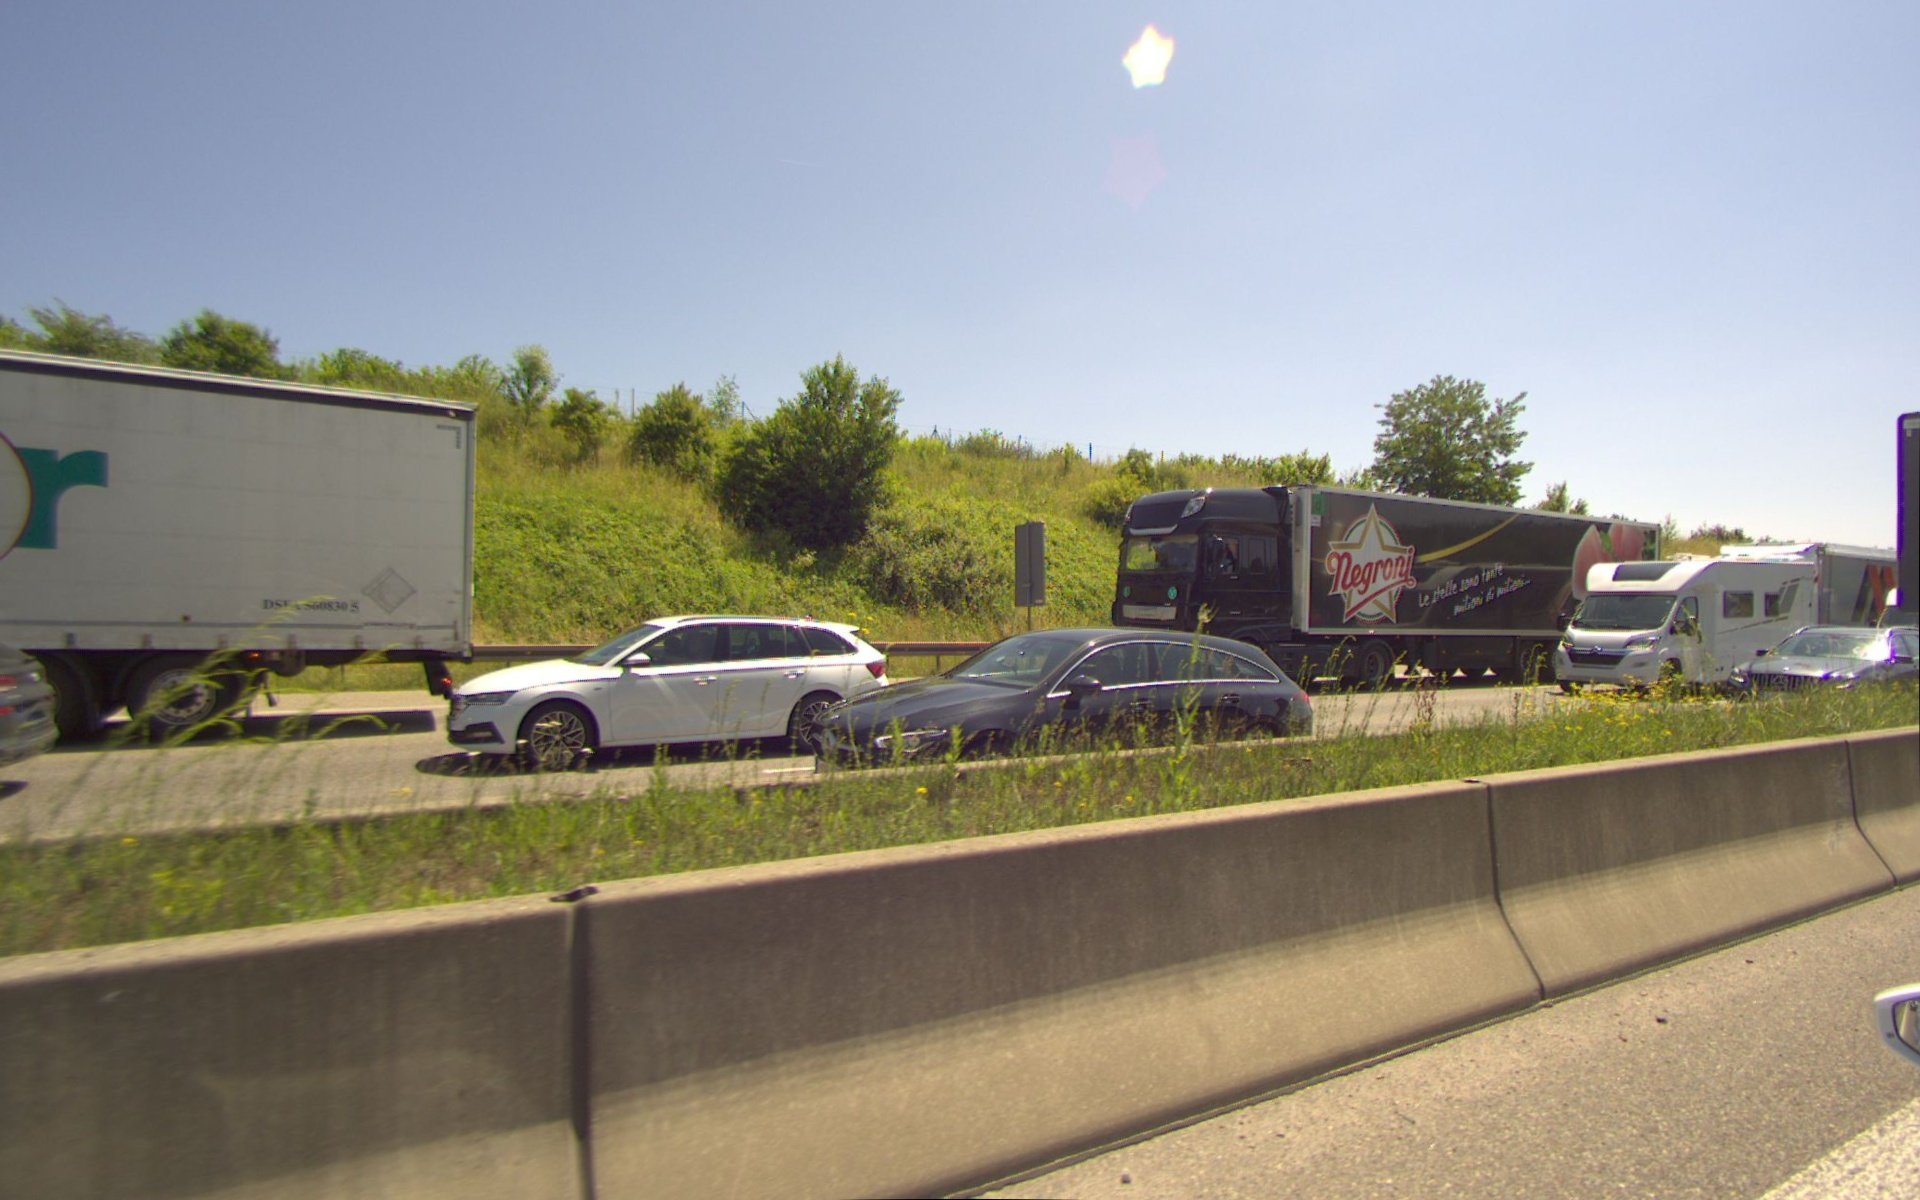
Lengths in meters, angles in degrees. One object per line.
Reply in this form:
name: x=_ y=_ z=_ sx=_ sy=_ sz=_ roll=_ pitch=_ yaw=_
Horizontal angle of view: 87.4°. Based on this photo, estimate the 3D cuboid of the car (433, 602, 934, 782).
car: x=-2.885 y=0.877 z=10.900 sx=4.939 sy=1.564 sz=1.803 roll=2 pitch=0 yaw=-30

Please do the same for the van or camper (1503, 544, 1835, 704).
van or camper: x=15.648 y=0.532 z=21.980 sx=8.018 sy=2.987 sz=2.828 roll=2 pitch=0 yaw=-30

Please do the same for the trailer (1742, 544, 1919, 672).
trailer: x=32.752 y=0.388 z=36.314 sx=12.107 sy=4.087 sz=2.767 roll=2 pitch=0 yaw=-30

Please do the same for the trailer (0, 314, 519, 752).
trailer: x=-11.164 y=-0.687 z=10.691 sx=11.572 sy=4.362 sz=2.768 roll=2 pitch=-1 yaw=-30

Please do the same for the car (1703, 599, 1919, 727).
car: x=14.764 y=0.987 z=16.730 sx=5.478 sy=1.833 sz=1.803 roll=2 pitch=0 yaw=-30

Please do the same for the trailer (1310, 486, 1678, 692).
trailer: x=13.480 y=-0.103 z=24.847 sx=10.666 sy=4.297 sz=2.776 roll=2 pitch=0 yaw=-30

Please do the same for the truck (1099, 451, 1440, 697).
truck: x=6.499 y=-0.367 z=20.781 sx=6.947 sy=4.362 sz=2.768 roll=2 pitch=-1 yaw=-30

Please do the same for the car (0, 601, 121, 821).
car: x=-9.134 y=0.752 z=6.986 sx=4.772 sy=1.557 sz=1.803 roll=2 pitch=0 yaw=-30

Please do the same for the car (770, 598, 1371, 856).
car: x=1.080 y=0.885 z=8.542 sx=4.971 sy=1.655 sz=1.803 roll=2 pitch=0 yaw=-30

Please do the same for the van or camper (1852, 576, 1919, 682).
van or camper: x=29.760 y=0.906 z=30.275 sx=7.139 sy=2.962 sz=2.140 roll=2 pitch=0 yaw=-30

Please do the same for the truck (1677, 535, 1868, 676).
truck: x=26.330 y=0.214 z=32.514 sx=6.069 sy=4.182 sz=2.787 roll=2 pitch=0 yaw=-30
